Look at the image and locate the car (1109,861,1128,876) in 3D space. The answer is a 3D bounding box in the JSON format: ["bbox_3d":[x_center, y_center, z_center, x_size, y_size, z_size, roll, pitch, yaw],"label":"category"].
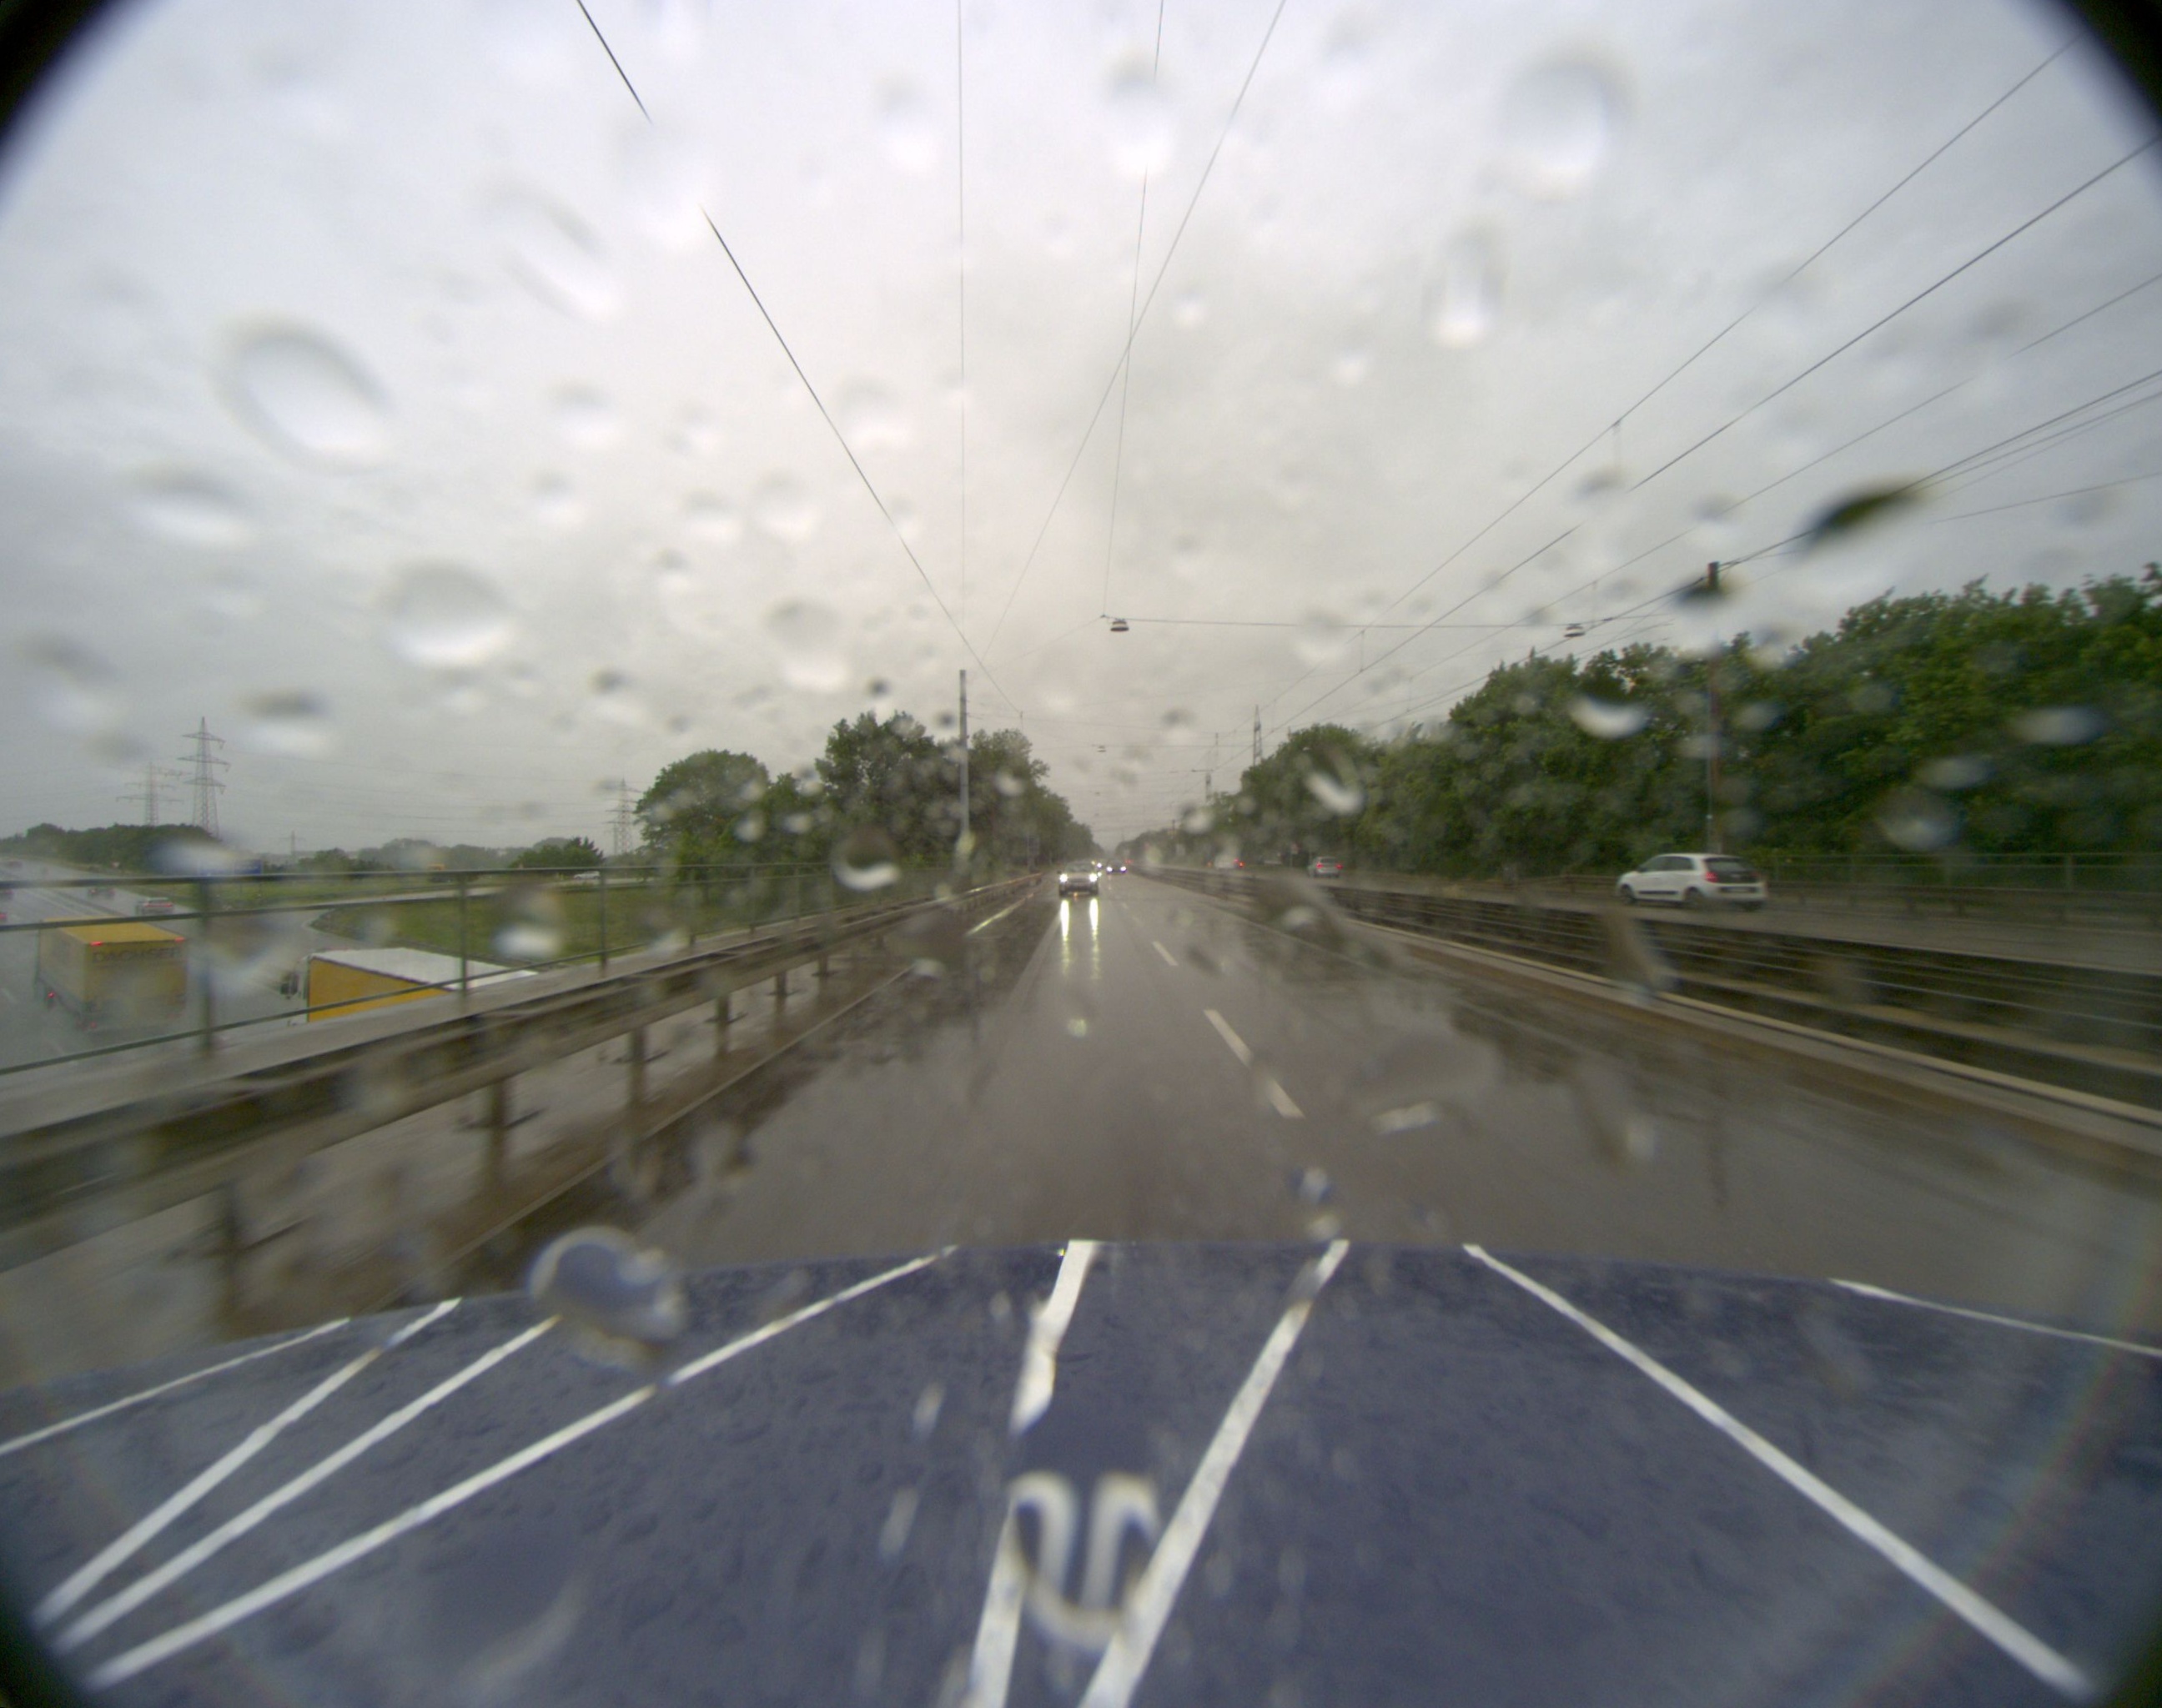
[{"bbox_3d":[3.999,1.533,81.595,1.971,1.412,4.000,0,1,1],"label":"car"}]

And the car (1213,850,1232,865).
[{"bbox_3d":[21.708,0.561,116.731,2.190,2.091,4.146,-4,1,3],"label":"car"}]

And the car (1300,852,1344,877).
[{"bbox_3d":[18.488,0.753,58.465,1.837,1.701,4.661,-4,0,1],"label":"car"}]

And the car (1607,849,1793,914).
[{"bbox_3d":[17.146,0.693,21.345,1.998,1.608,4.000,-1,1,1],"label":"car"}]

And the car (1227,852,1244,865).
[{"bbox_3d":[21.131,0.648,104.060,1.777,1.621,3.672,-4,1,5],"label":"car"}]

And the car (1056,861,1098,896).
[{"bbox_3d":[-0.133,1.048,33.987,1.750,1.412,4.000,0,1,1],"label":"car"}]

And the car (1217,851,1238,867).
[{"bbox_3d":[17.347,0.585,90.233,1.777,1.621,3.671,-4,1,1],"label":"car"}]

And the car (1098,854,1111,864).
[{"bbox_3d":[3.639,0.772,118.956,1.971,1.412,4.000,0,1,1],"label":"car"}]
